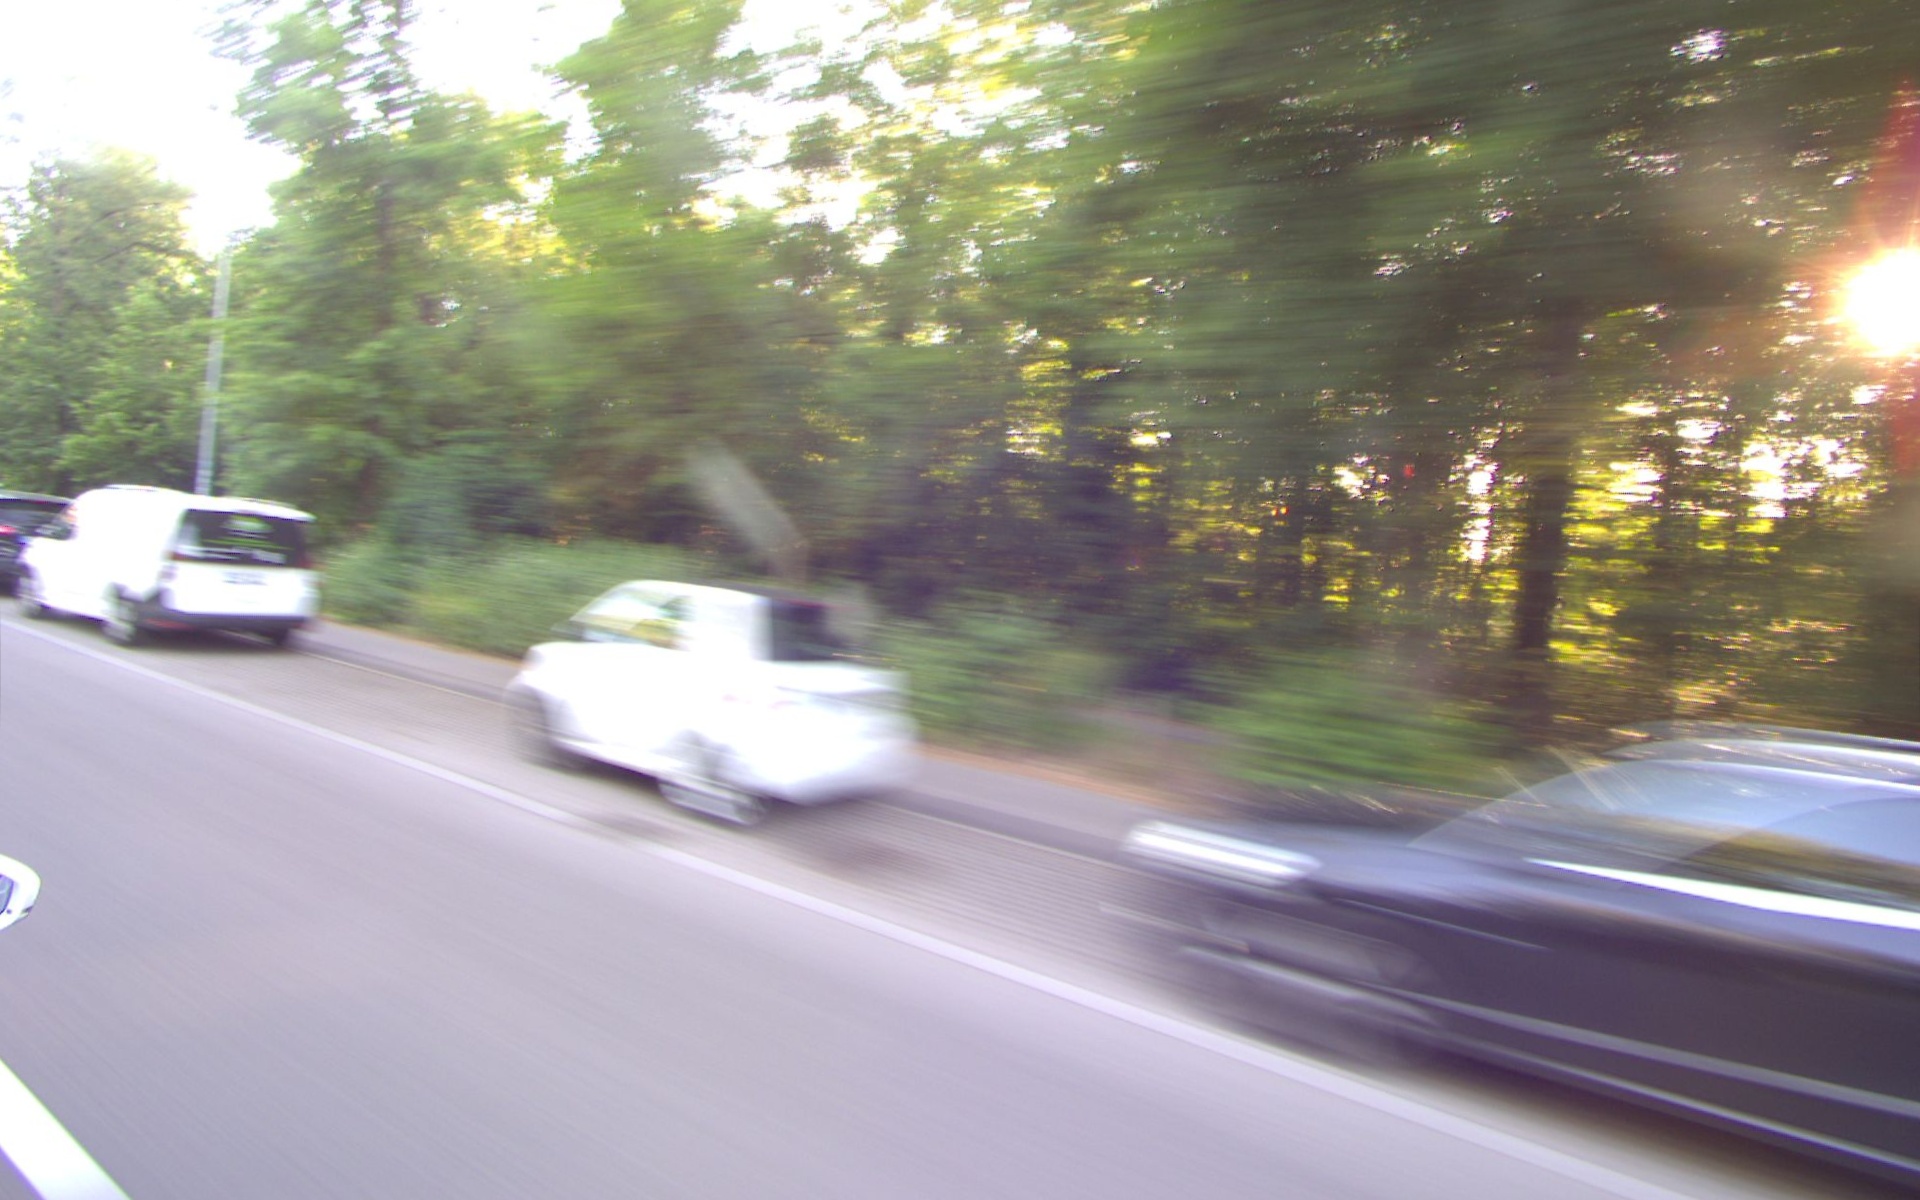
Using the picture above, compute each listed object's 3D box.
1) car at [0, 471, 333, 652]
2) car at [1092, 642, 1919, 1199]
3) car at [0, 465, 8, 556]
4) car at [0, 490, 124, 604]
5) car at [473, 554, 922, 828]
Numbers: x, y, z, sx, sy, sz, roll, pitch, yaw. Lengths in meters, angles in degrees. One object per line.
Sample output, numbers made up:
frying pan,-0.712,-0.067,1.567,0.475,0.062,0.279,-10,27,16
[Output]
car,-10.243,-0.531,12.874,4.659,1.827,1.761,6,0,31
car,3.181,1.232,3.858,4.906,1.554,1.761,6,0,31
car,-20.673,-1.812,19.543,5.386,2.006,1.870,6,0,33
car,-15.467,-0.969,16.233,4.357,1.567,1.760,6,0,33
car,-2.081,0.578,7.778,3.129,1.514,1.586,6,0,34
